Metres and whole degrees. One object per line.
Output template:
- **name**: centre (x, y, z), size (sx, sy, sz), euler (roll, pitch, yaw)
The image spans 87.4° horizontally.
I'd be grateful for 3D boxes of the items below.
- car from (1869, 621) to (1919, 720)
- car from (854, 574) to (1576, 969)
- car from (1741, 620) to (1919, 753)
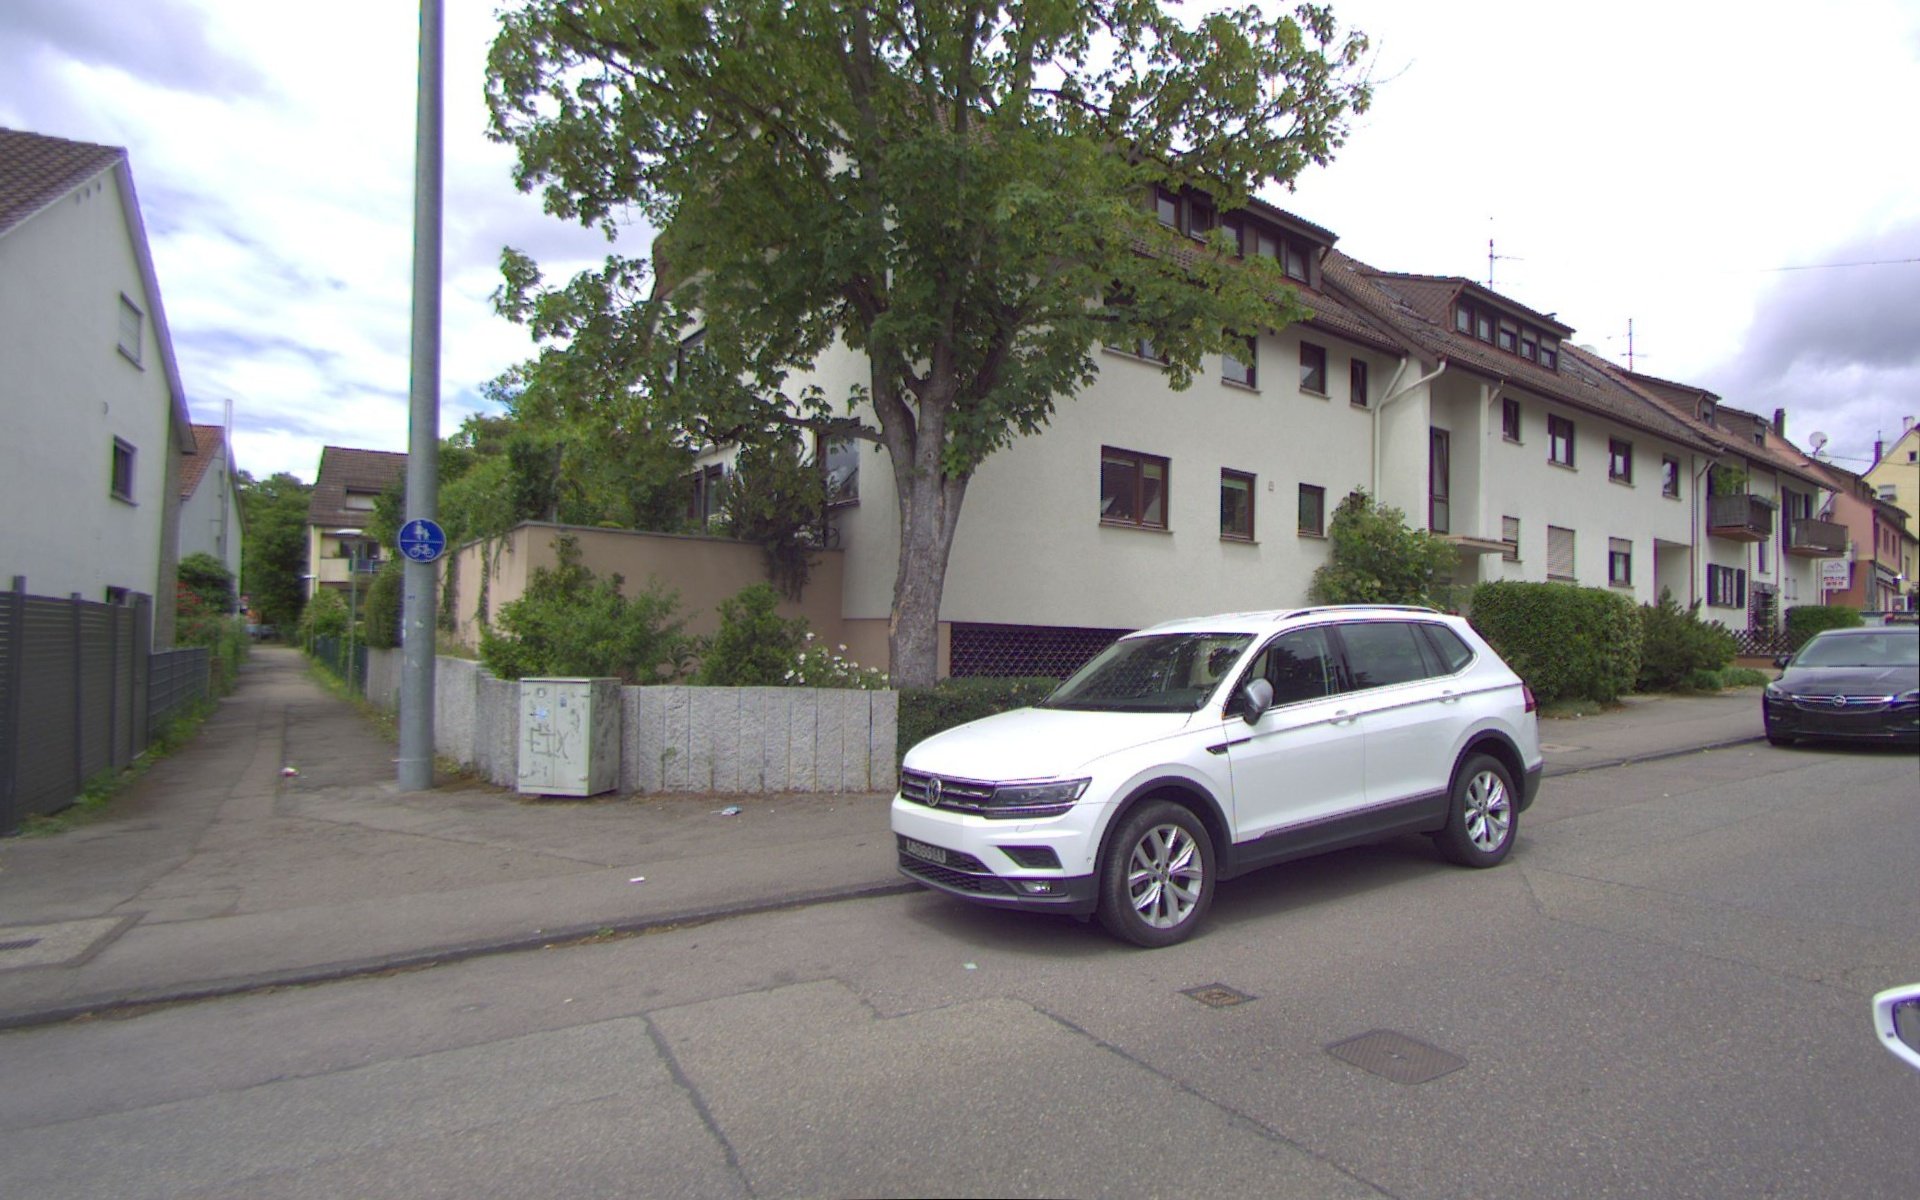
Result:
- **car**: centre (15.986, 1.021, 15.763), size (4.040, 1.456, 1.751), euler (0, -5, -37)
- **car**: centre (1.767, 0.822, 6.427), size (4.523, 1.736, 1.840), euler (1, -3, -32)
- **car**: centre (11.689, 0.998, 12.808), size (4.041, 1.457, 1.750), euler (0, -3, -38)
